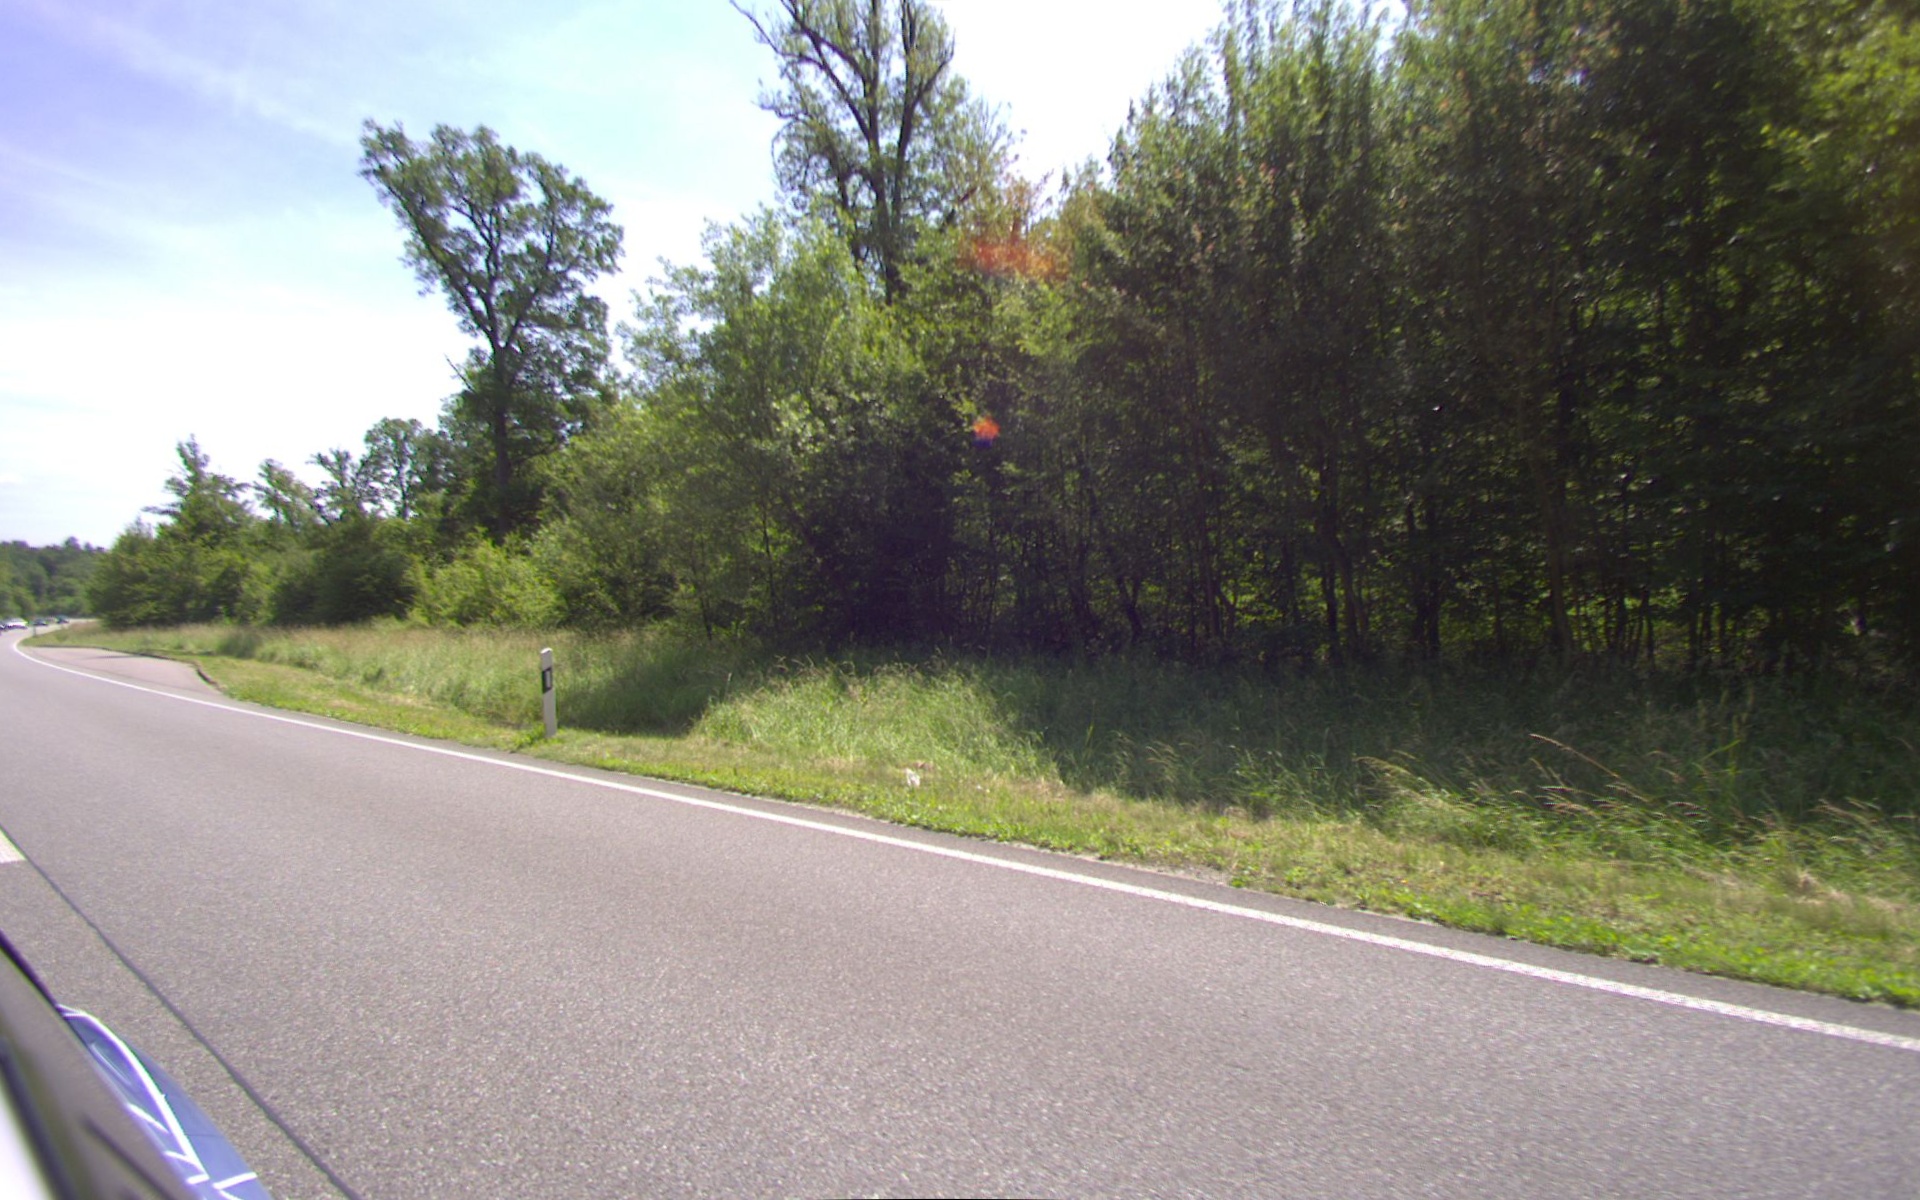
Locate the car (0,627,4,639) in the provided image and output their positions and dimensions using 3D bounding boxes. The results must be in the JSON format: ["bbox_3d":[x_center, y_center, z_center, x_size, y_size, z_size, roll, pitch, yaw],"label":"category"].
[{"bbox_3d":[-116.259,3.993,121.650,1.750,1.474,4.005,-1,-1,-42],"label":"car"}]

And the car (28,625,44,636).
[{"bbox_3d":[-154.568,5.151,169.320,1.667,1.741,4.008,-1,0,-38],"label":"car"}]

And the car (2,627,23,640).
[{"bbox_3d":[-134.356,4.764,143.493,1.989,1.761,4.387,-1,-1,-40],"label":"car"}]
